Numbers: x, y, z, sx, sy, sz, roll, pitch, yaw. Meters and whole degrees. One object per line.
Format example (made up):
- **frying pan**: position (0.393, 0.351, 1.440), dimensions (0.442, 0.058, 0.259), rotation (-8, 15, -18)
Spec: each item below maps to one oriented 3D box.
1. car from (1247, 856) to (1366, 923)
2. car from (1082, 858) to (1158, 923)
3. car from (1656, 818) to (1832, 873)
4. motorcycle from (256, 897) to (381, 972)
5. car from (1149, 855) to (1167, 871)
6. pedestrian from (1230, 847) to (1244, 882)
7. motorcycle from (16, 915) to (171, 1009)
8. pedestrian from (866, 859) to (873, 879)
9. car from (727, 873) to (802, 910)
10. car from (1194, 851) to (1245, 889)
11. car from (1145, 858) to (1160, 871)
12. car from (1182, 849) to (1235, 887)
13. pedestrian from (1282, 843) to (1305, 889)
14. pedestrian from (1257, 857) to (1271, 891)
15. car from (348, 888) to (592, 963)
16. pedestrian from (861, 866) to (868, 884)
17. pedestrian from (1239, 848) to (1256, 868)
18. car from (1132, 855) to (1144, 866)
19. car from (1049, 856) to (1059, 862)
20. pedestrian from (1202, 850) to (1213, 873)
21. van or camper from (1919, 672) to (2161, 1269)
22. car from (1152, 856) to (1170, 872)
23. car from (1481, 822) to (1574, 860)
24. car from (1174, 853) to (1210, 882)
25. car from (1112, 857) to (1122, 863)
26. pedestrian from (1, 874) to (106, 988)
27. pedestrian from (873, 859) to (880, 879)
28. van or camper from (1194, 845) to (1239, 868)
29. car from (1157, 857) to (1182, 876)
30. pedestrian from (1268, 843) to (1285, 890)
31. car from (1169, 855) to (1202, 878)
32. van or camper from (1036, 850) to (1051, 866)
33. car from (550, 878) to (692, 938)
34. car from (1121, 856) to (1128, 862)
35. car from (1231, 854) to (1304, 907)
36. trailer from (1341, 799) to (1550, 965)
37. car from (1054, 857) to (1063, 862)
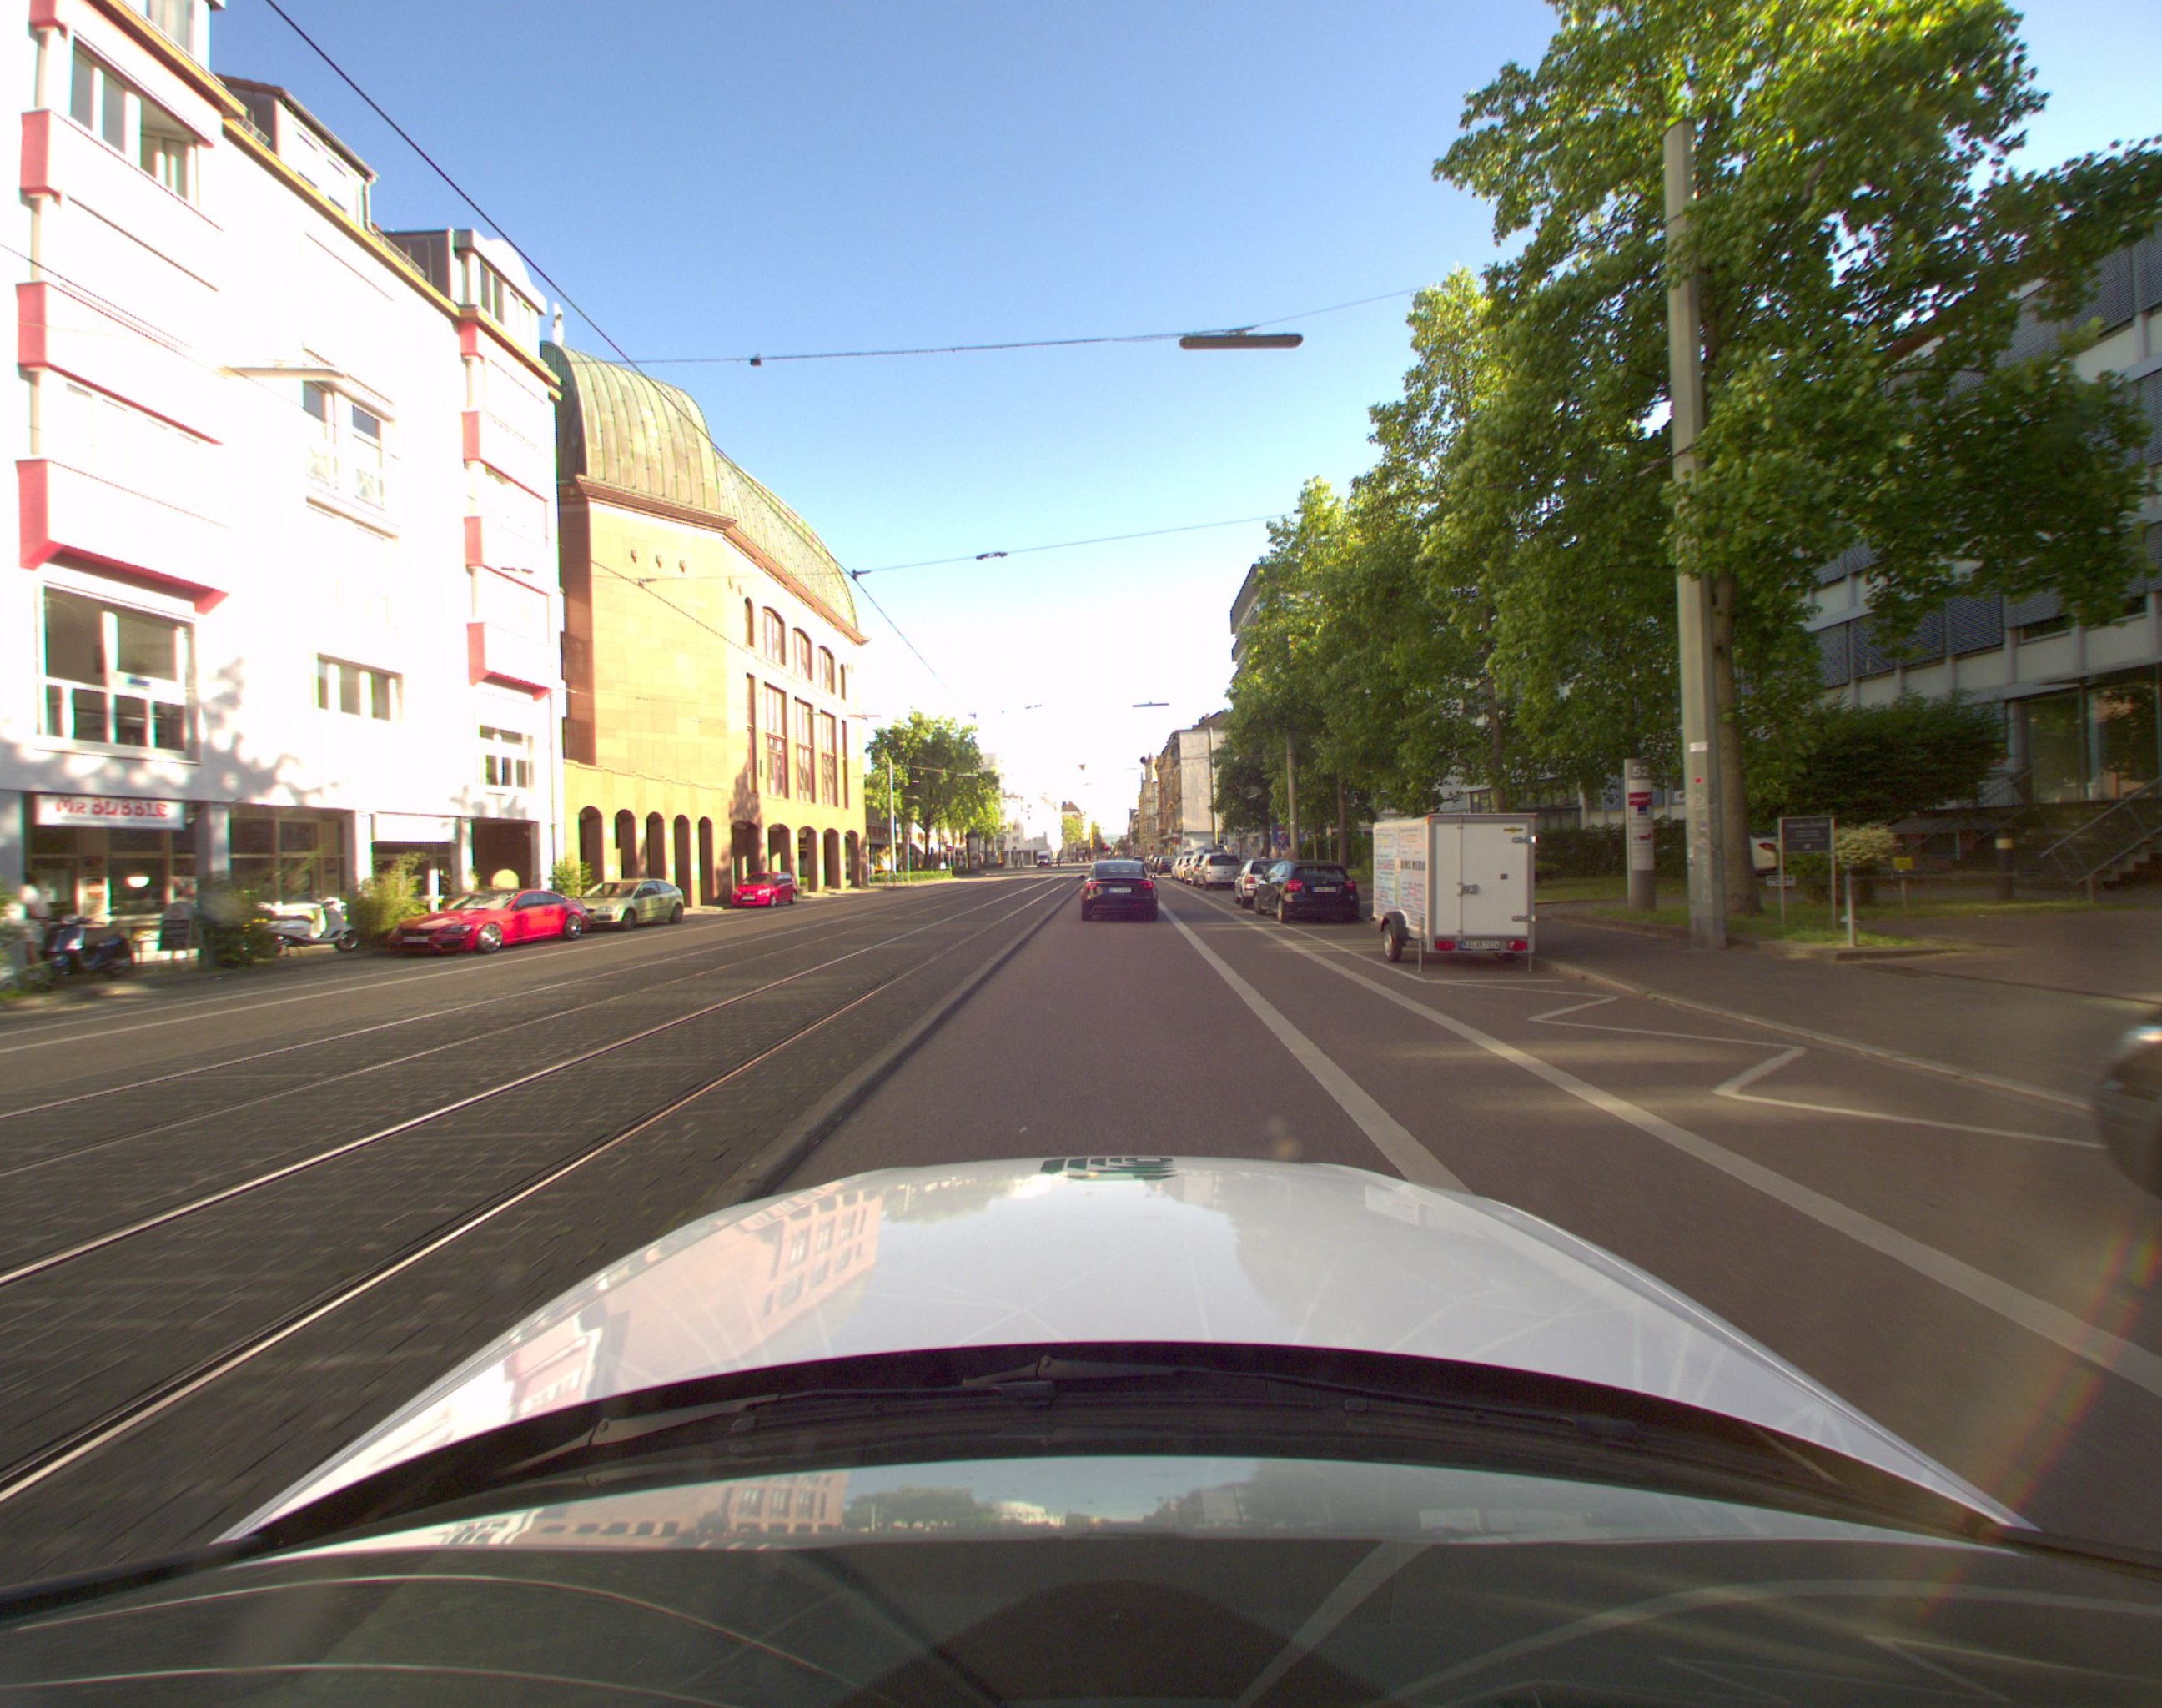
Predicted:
- **car**: position (5.378, 0.788, 19.988), dimensions (1.796, 1.435, 4.324), rotation (1, 0, 1)
- **car**: position (0.926, 0.835, 20.299), dimensions (1.713, 1.405, 3.711), rotation (-1, 0, 1)
- **car**: position (19.512, -0.218, 24.231), dimensions (1.786, 1.464, 3.993), rotation (-2, 0, -5)
- **motorcycle**: position (-15.361, 1.578, 16.490), dimensions (0.517, 1.297, 2.083), rotation (0, 0, 1)
- **car**: position (8.264, 0.978, 87.759), dimensions (1.821, 1.628, 4.098), rotation (-1, -1, 3)
- **pedestrian**: position (8.110, 0.546, 42.383), dimensions (0.608, 1.808, 0.603), rotation (-3, -1, 6)
- **motorcycle**: position (-15.577, 1.656, 12.934), dimensions (0.461, 1.194, 2.071), rotation (0, 0, -16)
- **pedestrian**: position (-19.639, 1.390, 75.569), dimensions (0.590, 1.872, 0.537), rotation (0, 0, -7)
- **car**: position (-13.264, 1.538, 34.346), dimensions (1.653, 1.422, 3.622), rotation (0, 0, 2)
- **car**: position (6.218, 0.672, 36.925), dimensions (1.707, 1.590, 4.066), rotation (0, 0, 1)
- **car**: position (8.632, 1.238, 98.528), dimensions (1.708, 1.472, 3.722), rotation (-2, -1, 3)
- **car**: position (6.451, 0.663, 41.766), dimensions (1.919, 1.834, 4.711), rotation (-1, 0, 0)
- **pedestrian**: position (9.039, 0.500, 34.671), dimensions (0.665, 1.897, 0.749), rotation (-5, -1, 7)
- **pedestrian**: position (7.856, 0.866, 34.920), dimensions (0.453, 1.398, 0.423), rotation (-4, 0, 7)
- **car**: position (-13.796, 1.545, 18.868), dimensions (1.953, 1.325, 4.822), rotation (0, 0, 1)
- **pedestrian**: position (-22.153, 2.133, 83.353), dimensions (0.624, 1.847, 0.673), rotation (0, 0, -1)
- **pedestrian**: position (15.069, 0.389, 73.715), dimensions (1.142, 1.728, 1.050), rotation (-2, 0, 27)
- **car**: position (8.174, 0.911, 116.295), dimensions (1.587, 1.433, 3.689), rotation (-2, -1, 3)
- **car**: position (-6.645, 1.289, 199.203), dimensions (1.986, 1.368, 4.002), rotation (-2, -1, 2)
- **pedestrian**: position (10.000, 0.578, 64.432), dimensions (0.719, 1.812, 0.889), rotation (-2, -1, 2)
- **van or camper**: position (4.654, 0.393, 0.932), dimensions (1.964, 2.045, 5.331), rotation (0, 0, 1)
- **car**: position (7.558, 0.990, 77.436), dimensions (1.456, 1.432, 3.814), rotation (-1, -1, 2)
- **car**: position (19.952, -0.588, 36.605), dimensions (1.784, 1.536, 4.308), rotation (-2, 1, -1)
- **car**: position (6.427, 0.750, 47.434), dimensions (1.536, 1.570, 4.443), rotation (-1, 0, 1)
- **car**: position (8.404, 1.402, 190.498), dimensions (1.988, 1.525, 3.997), rotation (-2, 0, -2)
- **pedestrian**: position (-17.442, 1.284, 13.842), dimensions (0.819, 1.843, 0.715), rotation (0, 0, -7)
- **pedestrian**: position (-19.033, 1.369, 75.642), dimensions (0.545, 1.801, 0.587), rotation (0, 0, -7)
- **van or camper**: position (14.634, 0.276, 88.317), dimensions (4.621, 2.136, 1.991), rotation (-5, -1, 6)
- **car**: position (7.113, 1.004, 65.950), dimensions (1.704, 1.457, 4.552), rotation (-1, 0, 2)
- **pedestrian**: position (8.361, 0.542, 34.870), dimensions (0.462, 1.954, 0.749), rotation (-5, -1, 7)
- **car**: position (6.738, 0.806, 52.735), dimensions (1.597, 1.443, 3.884), rotation (0, -1, 0)
- **van or camper**: position (-6.399, 0.680, 138.895), dimensions (2.133, 2.654, 6.879), rotation (-2, -1, 0)
- **car**: position (-13.509, 1.532, 24.226), dimensions (1.662, 1.468, 4.292), rotation (0, 0, 2)
- **car**: position (11.845, 1.325, 222.626), dimensions (1.838, 1.592, 4.003), rotation (-3, 0, 3)
- **car**: position (5.616, 0.739, 24.938), dimensions (1.740, 1.443, 4.323), rotation (-1, 0, 7)
- **trailer**: position (5.259, 0.368, 12.320), dimensions (1.653, 2.117, 3.846), rotation (0, 0, 4)
- **car**: position (-6.130, 1.527, 224.155), dimensions (1.986, 1.495, 4.002), rotation (-2, -1, 2)
